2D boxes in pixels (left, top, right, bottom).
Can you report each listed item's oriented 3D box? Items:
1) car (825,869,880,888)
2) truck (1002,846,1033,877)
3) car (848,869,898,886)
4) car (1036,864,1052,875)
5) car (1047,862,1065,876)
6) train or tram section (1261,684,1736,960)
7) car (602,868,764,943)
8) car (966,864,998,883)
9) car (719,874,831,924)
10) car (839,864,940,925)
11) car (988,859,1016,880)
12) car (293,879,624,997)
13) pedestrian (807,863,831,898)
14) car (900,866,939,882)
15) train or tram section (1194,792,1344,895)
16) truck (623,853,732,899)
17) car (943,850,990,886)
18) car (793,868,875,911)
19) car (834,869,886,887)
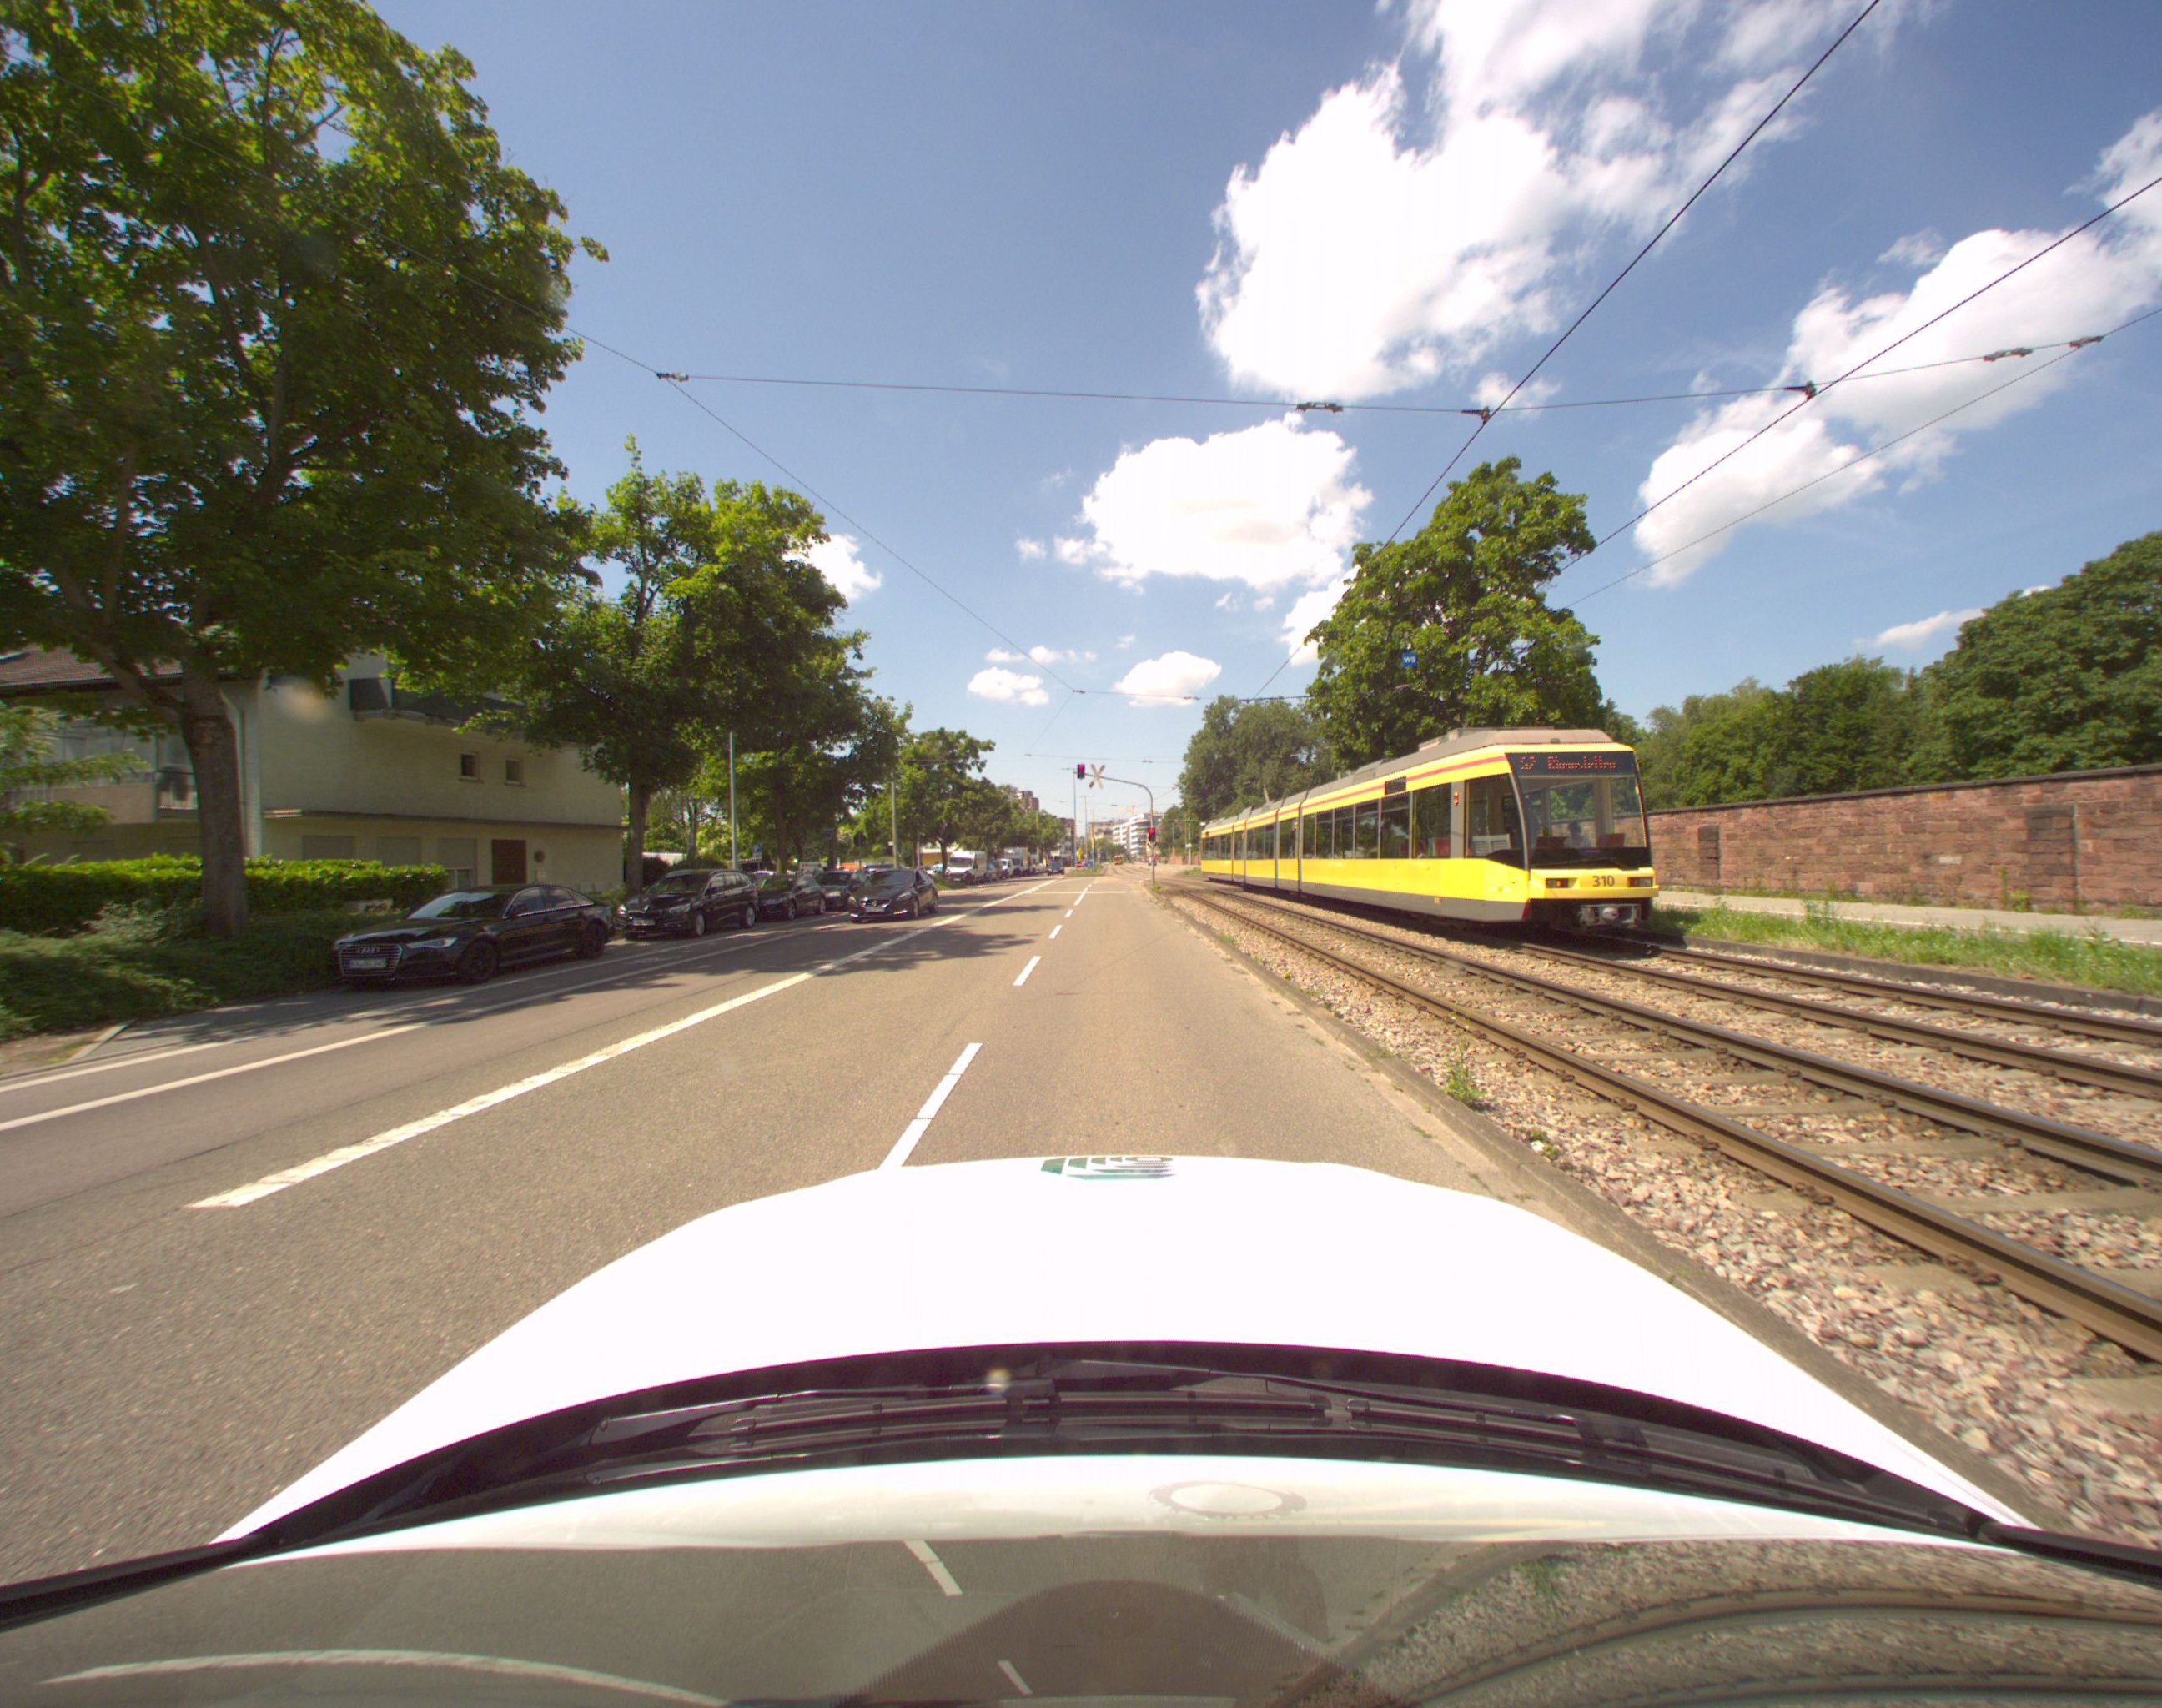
[{"bbox_3d":[-19.023,2.019,67.814,3.973,1.339,1.805,-2,-1,1],"label":"car"},{"bbox_3d":[-6.888,0.751,89.035,2.147,3.210,7.090,1,0,4],"label":"truck"},{"bbox_3d":[-18.648,2.098,73.007,3.973,1.339,1.805,-2,-1,1],"label":"car"},{"bbox_3d":[-5.663,2.350,125.280,2.052,1.582,4.874,-2,0,3],"label":"car"},{"bbox_3d":[-2.740,1.586,89.746,1.672,1.398,4.005,-4,0,0],"label":"car"},{"bbox_3d":[7.661,-0.397,20.208,2.932,3.692,18.397,-1,0,2],"label":"train or tram section"},{"bbox_3d":[-9.841,1.205,20.584,1.769,1.604,4.637,-1,0,0],"label":"car"},{"bbox_3d":[-8.187,1.619,67.654,1.861,1.437,4.345,-2,0,3],"label":"car"},{"bbox_3d":[-9.653,1.373,26.111,1.769,1.373,4.697,0,0,0],"label":"car"},{"bbox_3d":[-5.300,1.075,23.133,1.769,1.460,4.195,-3,0,0],"label":"car"},{"bbox_3d":[-7.741,1.508,80.454,2.052,1.898,4.874,-2,-1,3],"label":"car"},{"bbox_3d":[-9.895,1.225,13.590,1.769,1.456,4.804,-1,0,0],"label":"car"},{"bbox_3d":[-13.852,1.400,43.089,0.971,1.823,0.794,-2,-1,-1],"label":"pedestrian"},{"bbox_3d":[-17.989,2.181,90.748,3.973,1.606,1.805,-2,-1,1],"label":"car"},{"bbox_3d":[8.179,-0.338,39.543,2.933,3.692,20.286,-1,0,1],"label":"train or tram section"},{"bbox_3d":[-31.314,1.686,63.352,7.164,3.228,2.332,-2,-1,-1],"label":"truck"},{"bbox_3d":[-8.505,1.004,60.948,2.147,2.487,6.200,-1,0,4],"label":"car"},{"bbox_3d":[-9.320,1.304,31.051,1.768,1.481,4.049,0,0,2],"label":"car"},{"bbox_3d":[-19.080,2.050,70.455,3.973,1.339,1.805,-2,-1,1],"label":"car"}]
